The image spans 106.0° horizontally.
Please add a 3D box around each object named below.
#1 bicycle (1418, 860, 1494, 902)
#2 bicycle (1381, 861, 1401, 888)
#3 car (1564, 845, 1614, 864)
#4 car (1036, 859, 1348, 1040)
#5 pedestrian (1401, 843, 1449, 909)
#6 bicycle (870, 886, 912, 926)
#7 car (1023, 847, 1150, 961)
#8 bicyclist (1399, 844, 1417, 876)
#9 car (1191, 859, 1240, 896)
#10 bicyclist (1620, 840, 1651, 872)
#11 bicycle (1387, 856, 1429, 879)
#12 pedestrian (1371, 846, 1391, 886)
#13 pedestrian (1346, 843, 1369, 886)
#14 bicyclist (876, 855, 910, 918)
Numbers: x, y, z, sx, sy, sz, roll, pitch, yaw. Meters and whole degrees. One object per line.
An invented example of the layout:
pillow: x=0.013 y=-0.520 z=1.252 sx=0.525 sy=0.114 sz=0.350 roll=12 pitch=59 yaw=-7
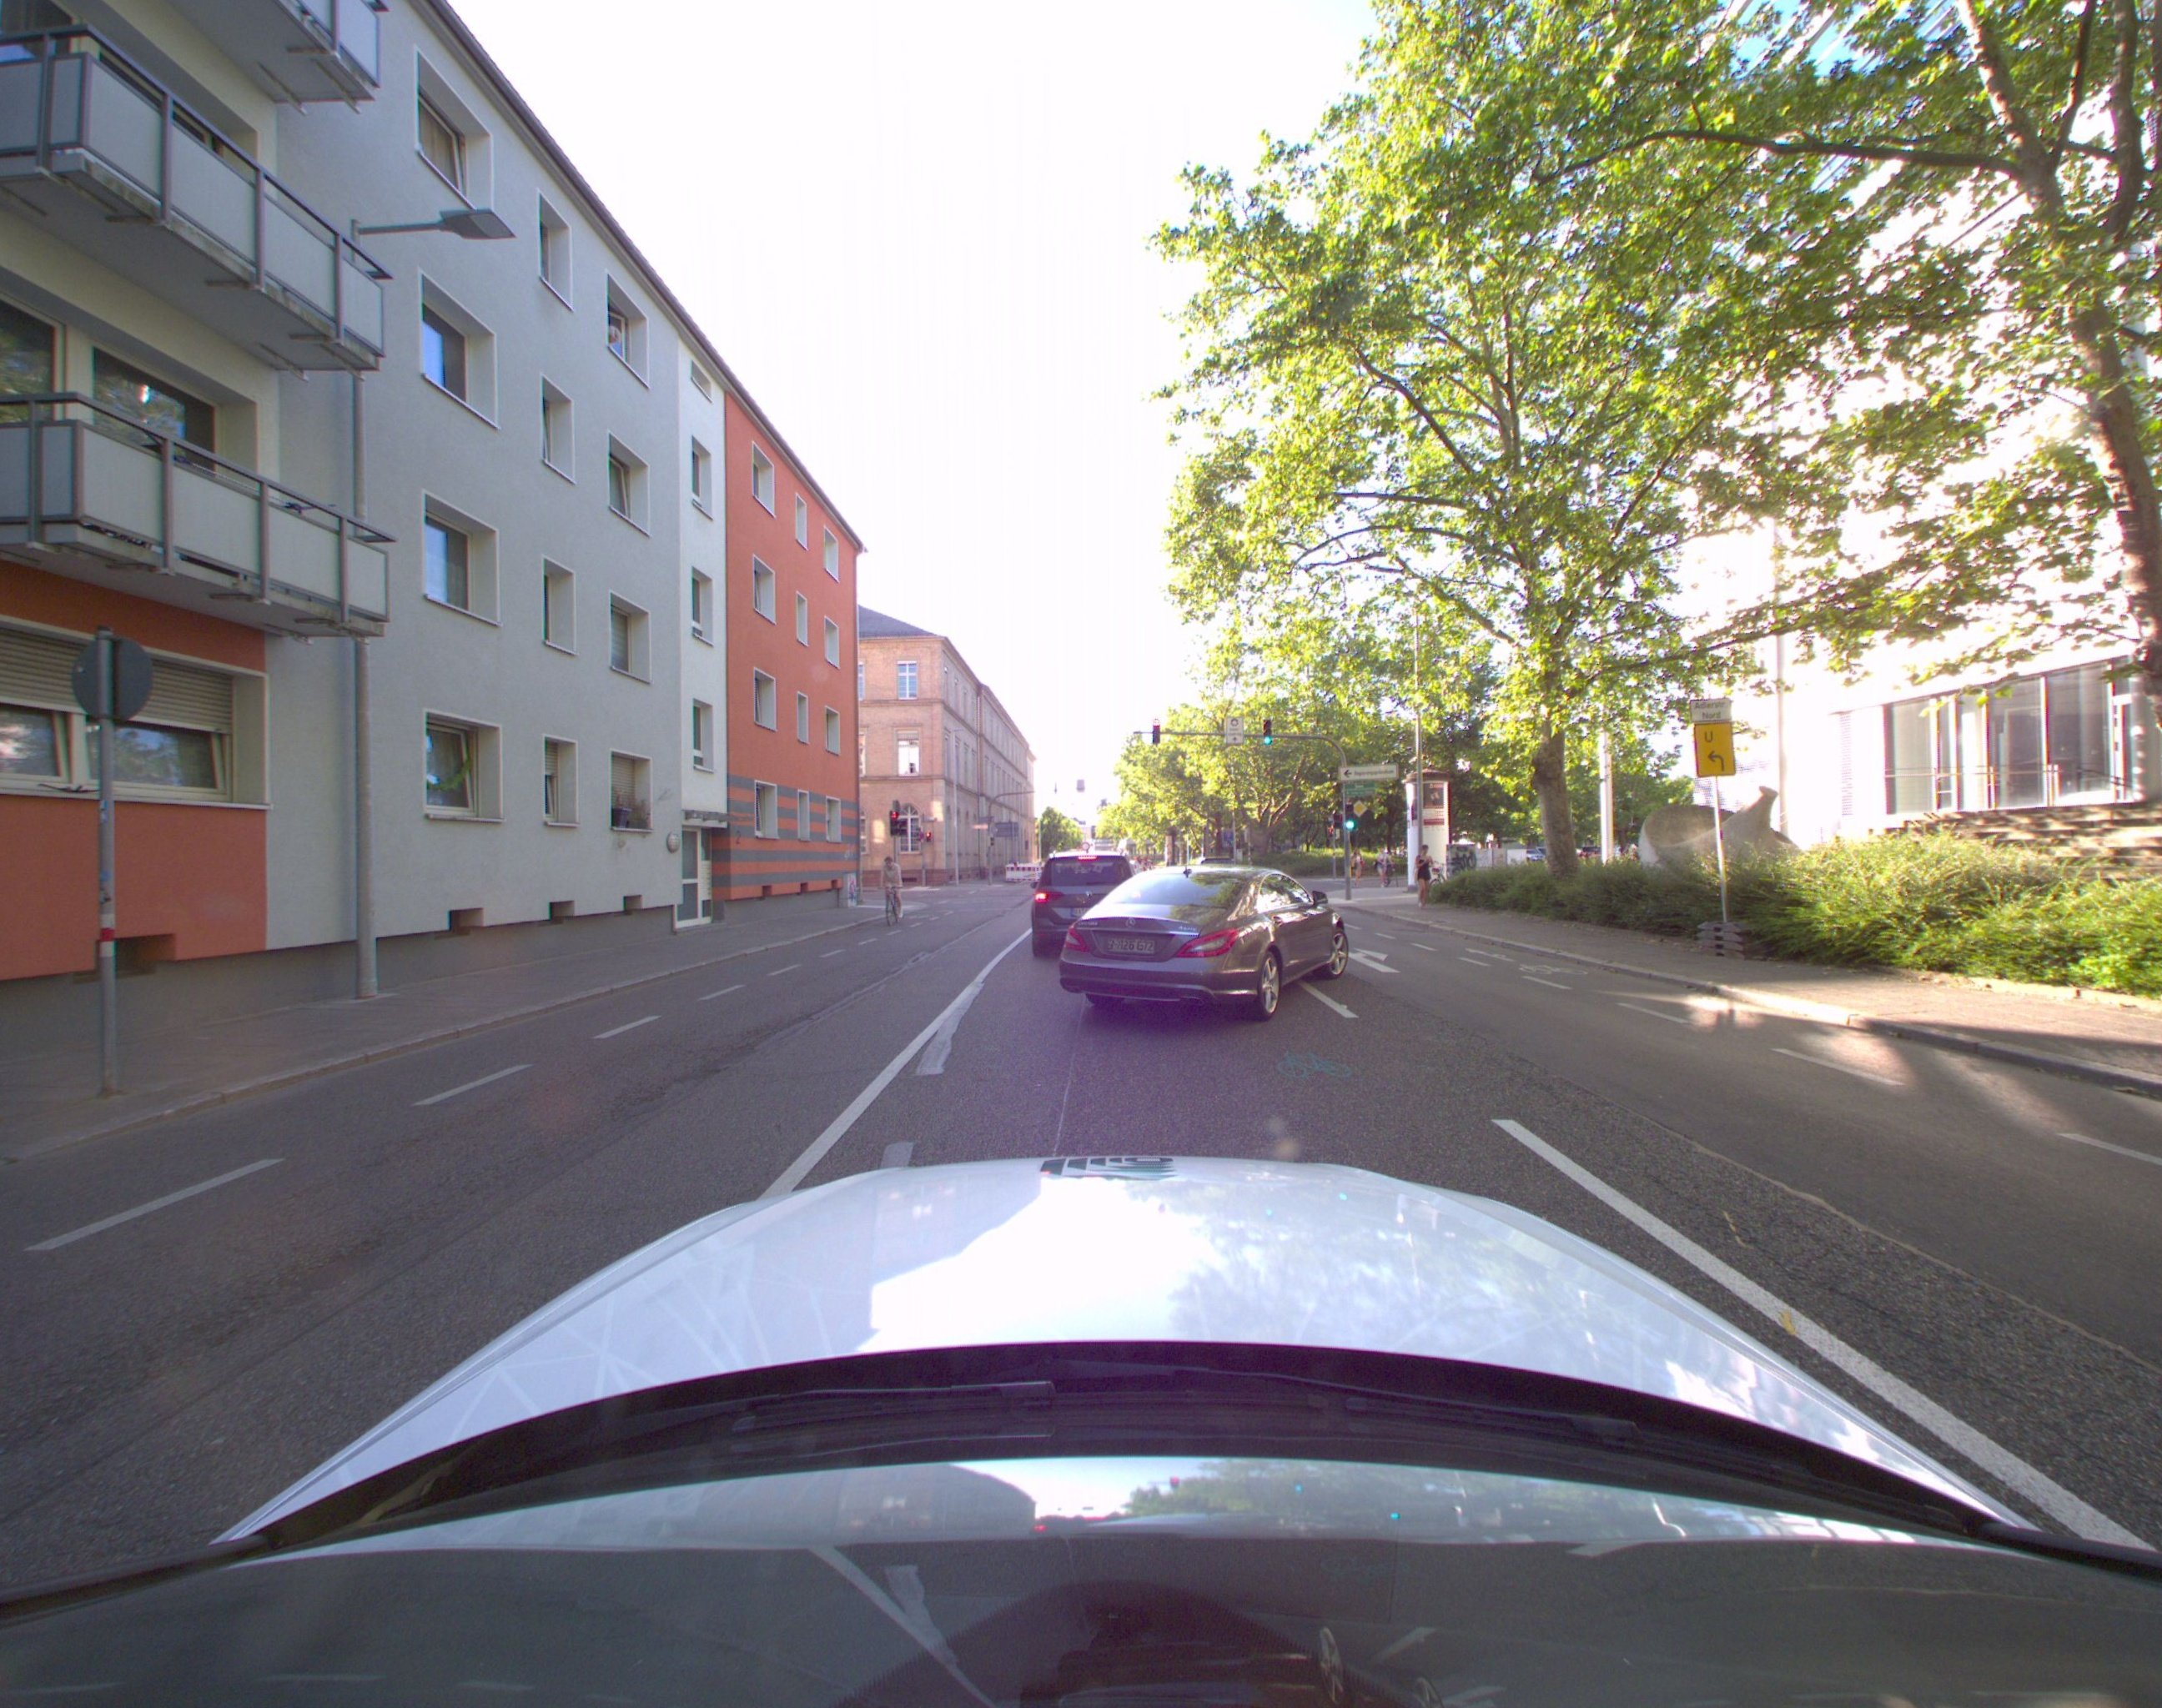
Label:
bicycle: x=10.800 y=0.772 z=23.481 sx=1.969 sy=1.190 sz=0.528 roll=0 pitch=-1 yaw=0
bicycle: x=13.260 y=0.863 z=34.897 sx=0.521 sy=1.100 sz=1.747 roll=-1 pitch=-1 yaw=11
car: x=39.737 y=0.052 z=63.806 sx=1.624 sy=1.483 sz=3.796 roll=0 pitch=-1 yaw=1
car: x=1.503 y=0.777 z=8.887 sx=1.825 sy=1.429 sz=4.545 roll=-1 pitch=-1 yaw=29
pedestrian: x=8.758 y=0.558 z=20.759 sx=0.795 sy=1.630 sz=0.907 roll=-3 pitch=-1 yaw=1
bicycle: x=-4.710 y=1.268 z=20.319 sx=0.546 sy=0.891 sz=1.868 roll=0 pitch=-1 yaw=2
car: x=0.200 y=0.743 z=13.840 sx=1.801 sy=1.612 sz=4.003 roll=-1 pitch=-1 yaw=3
bicyclist: x=17.645 y=0.343 z=43.904 sx=0.707 sy=1.697 sz=0.676 roll=0 pitch=-1 yaw=1
car: x=5.566 y=0.938 z=34.029 sx=1.682 sy=1.440 sz=3.906 roll=0 pitch=-1 yaw=4
bicyclist: x=28.153 y=0.102 z=41.344 sx=0.960 sy=1.615 sz=0.871 roll=0 pitch=-1 yaw=4
bicycle: x=17.615 y=0.707 z=43.907 sx=2.023 sy=1.220 sz=0.599 roll=0 pitch=-1 yaw=1
pedestrian: x=12.898 y=0.528 z=35.043 sx=0.679 sy=1.697 sz=0.974 roll=-1 pitch=-1 yaw=12
pedestrian: x=11.948 y=0.472 z=35.201 sx=0.727 sy=1.808 sz=0.911 roll=-2 pitch=-2 yaw=9
bicyclist: x=-4.716 y=0.807 z=20.448 sx=0.646 sy=1.558 sz=0.807 roll=0 pitch=-1 yaw=1
